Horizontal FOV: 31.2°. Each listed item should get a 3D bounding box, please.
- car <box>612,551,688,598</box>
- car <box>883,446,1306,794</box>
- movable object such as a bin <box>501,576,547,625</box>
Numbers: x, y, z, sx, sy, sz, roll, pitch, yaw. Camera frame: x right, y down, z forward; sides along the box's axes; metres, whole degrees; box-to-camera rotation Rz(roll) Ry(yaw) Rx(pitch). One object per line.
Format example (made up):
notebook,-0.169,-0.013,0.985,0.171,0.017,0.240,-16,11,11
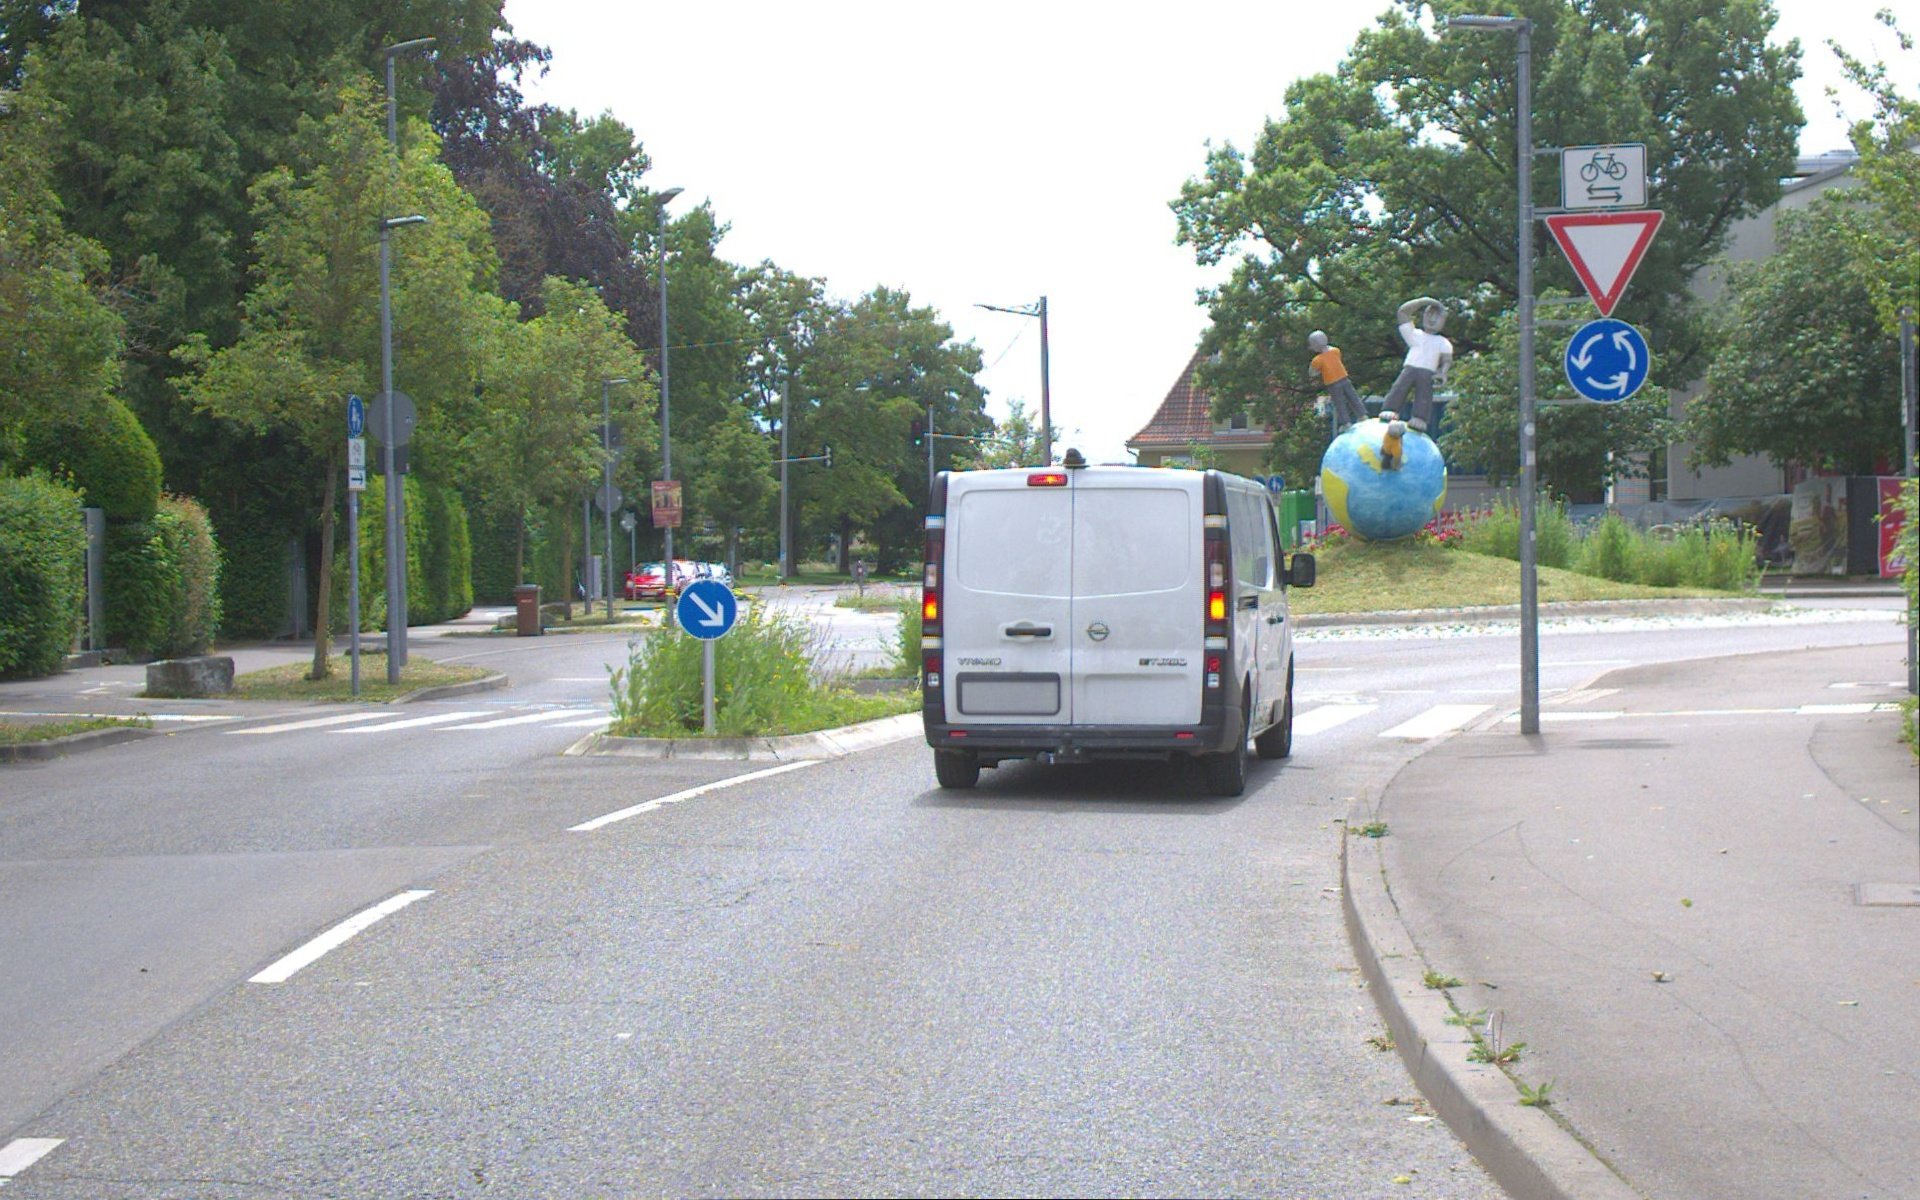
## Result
car,-9.899,-0.833,109.693,2.062,1.381,4.049,-1,2,-10
car,1.002,0.045,22.056,2.035,1.938,4.992,1,2,10
movable object such as a bin,-7.911,0.006,62.362,0.630,0.860,0.640,-2,1,10
